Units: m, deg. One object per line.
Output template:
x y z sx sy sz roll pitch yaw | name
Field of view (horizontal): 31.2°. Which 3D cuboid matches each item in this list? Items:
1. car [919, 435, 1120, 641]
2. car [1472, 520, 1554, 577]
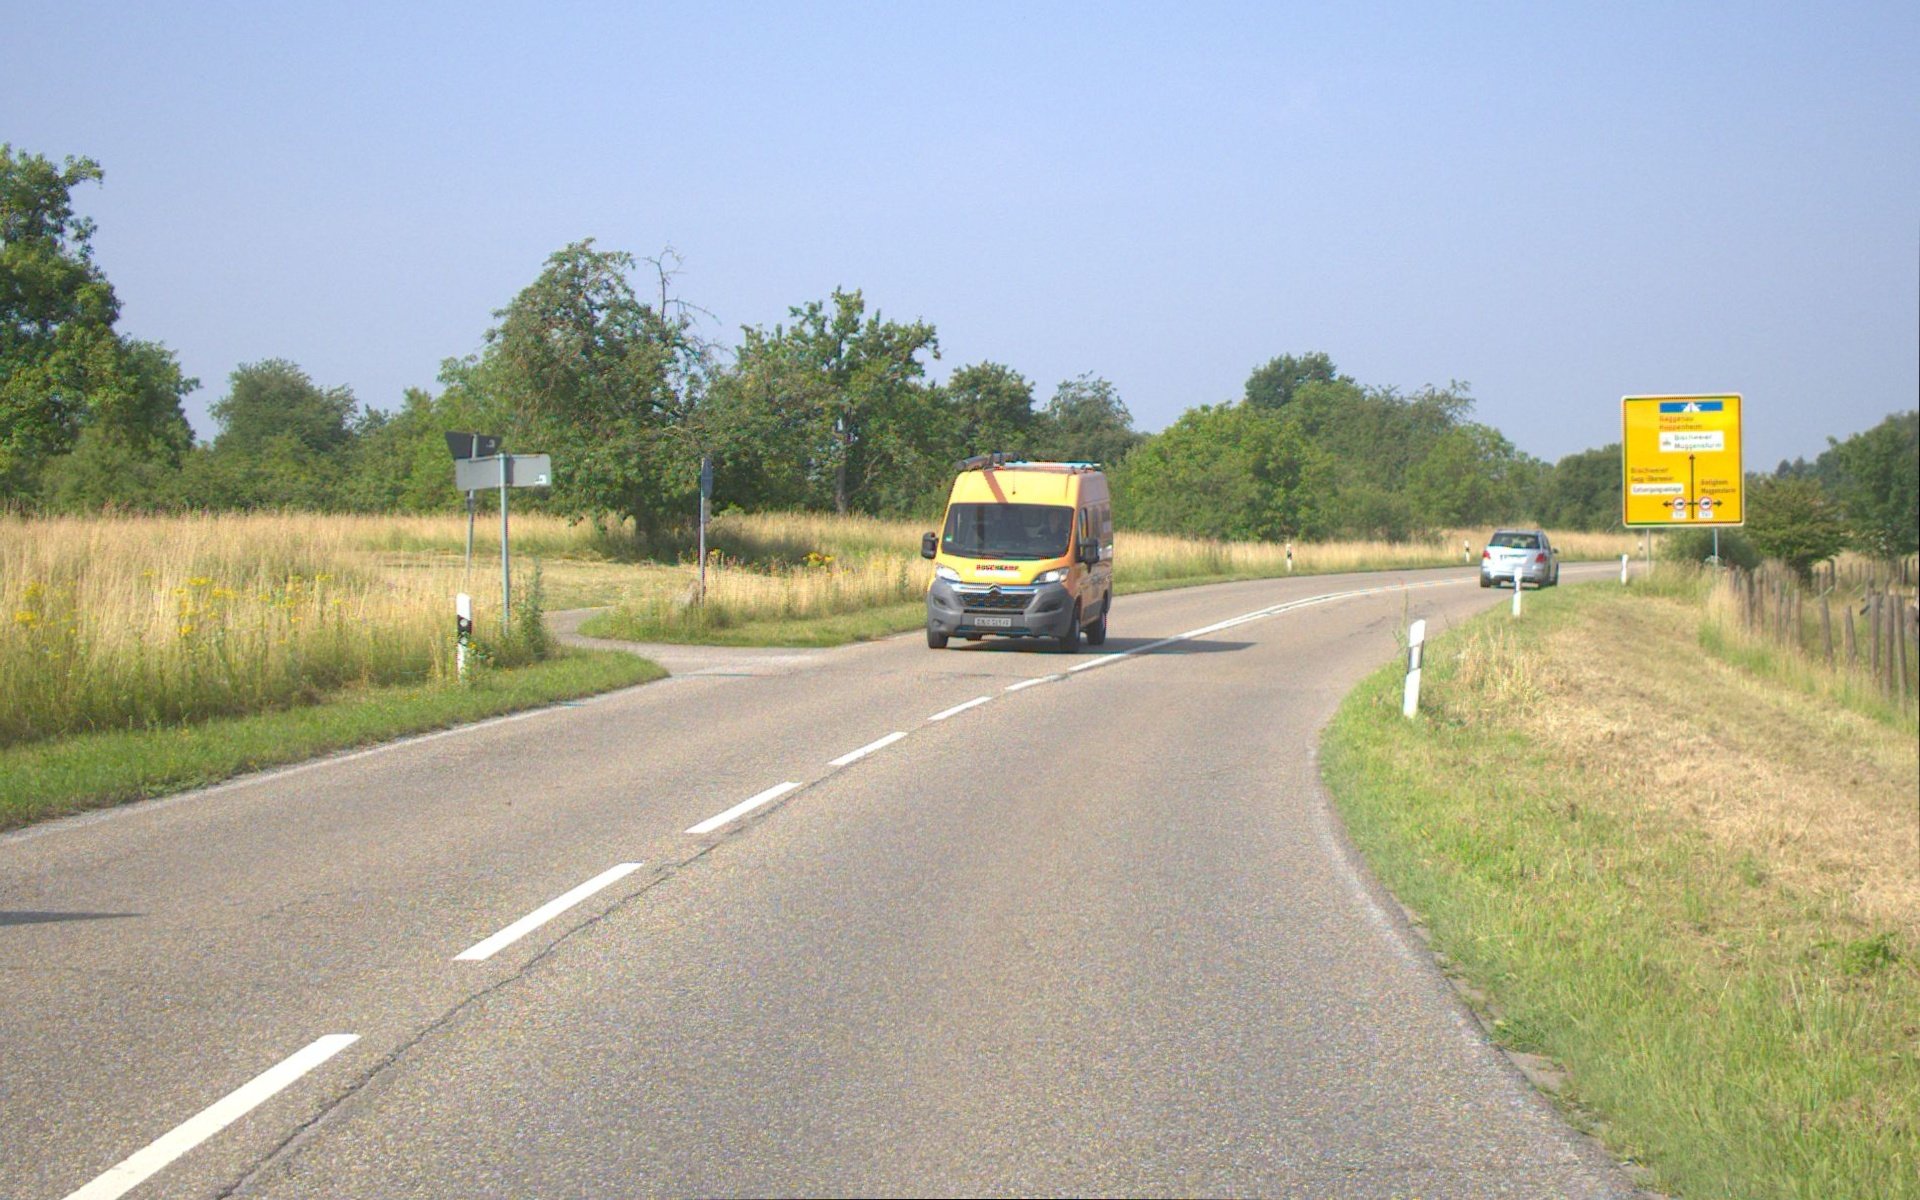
0.909 -0.867 48.235 2.124 2.686 5.267 1 1 8 | car
15.319 -1.427 95.060 1.900 1.506 3.998 2 1 14 | car
